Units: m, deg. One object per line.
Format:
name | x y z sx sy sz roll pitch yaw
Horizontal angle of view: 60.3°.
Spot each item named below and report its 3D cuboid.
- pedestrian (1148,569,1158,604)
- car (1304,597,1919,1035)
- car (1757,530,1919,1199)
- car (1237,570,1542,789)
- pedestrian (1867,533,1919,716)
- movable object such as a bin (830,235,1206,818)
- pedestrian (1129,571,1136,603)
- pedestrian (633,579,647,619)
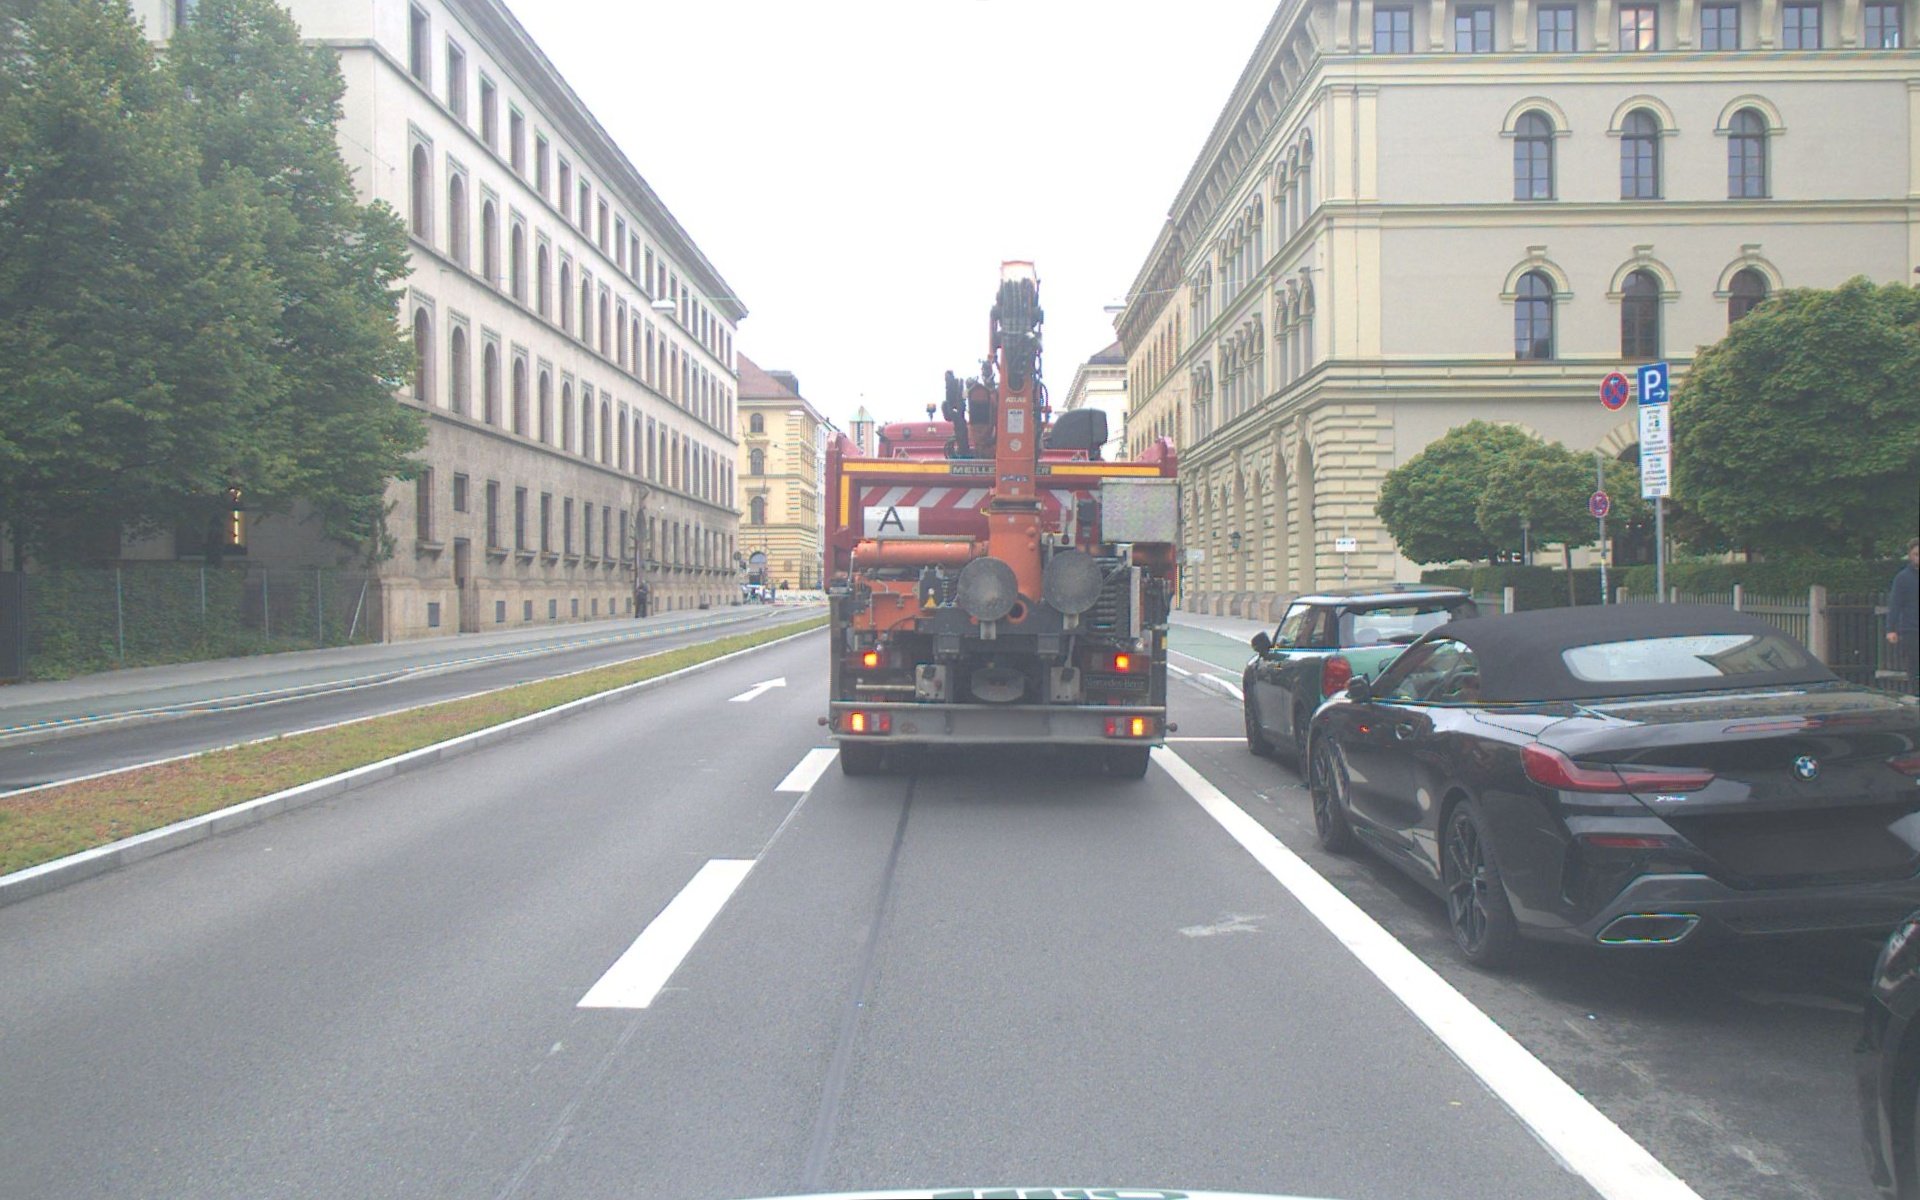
pedestrian | 10.318 -0.710 88.439 0.436 1.868 0.556 -1 0 1
car | 2.892 0.724 7.758 1.646 1.410 4.427 0 1 0
car | 2.865 0.669 1.669 1.765 1.505 4.686 2 1 -1
car | 3.324 0.538 13.394 1.577 1.521 3.424 -1 1 0
pedestrian | 10.077 0.237 17.284 0.774 1.868 0.777 -1 1 1
movable object such as a bin | 0.334 -0.501 13.375 2.374 3.674 5.851 0 1 -1
pedestrian | 9.222 -0.675 88.521 0.330 1.701 0.440 -1 0 1
pedestrian | -14.984 -0.043 77.459 0.577 1.863 0.499 0 1 -1
